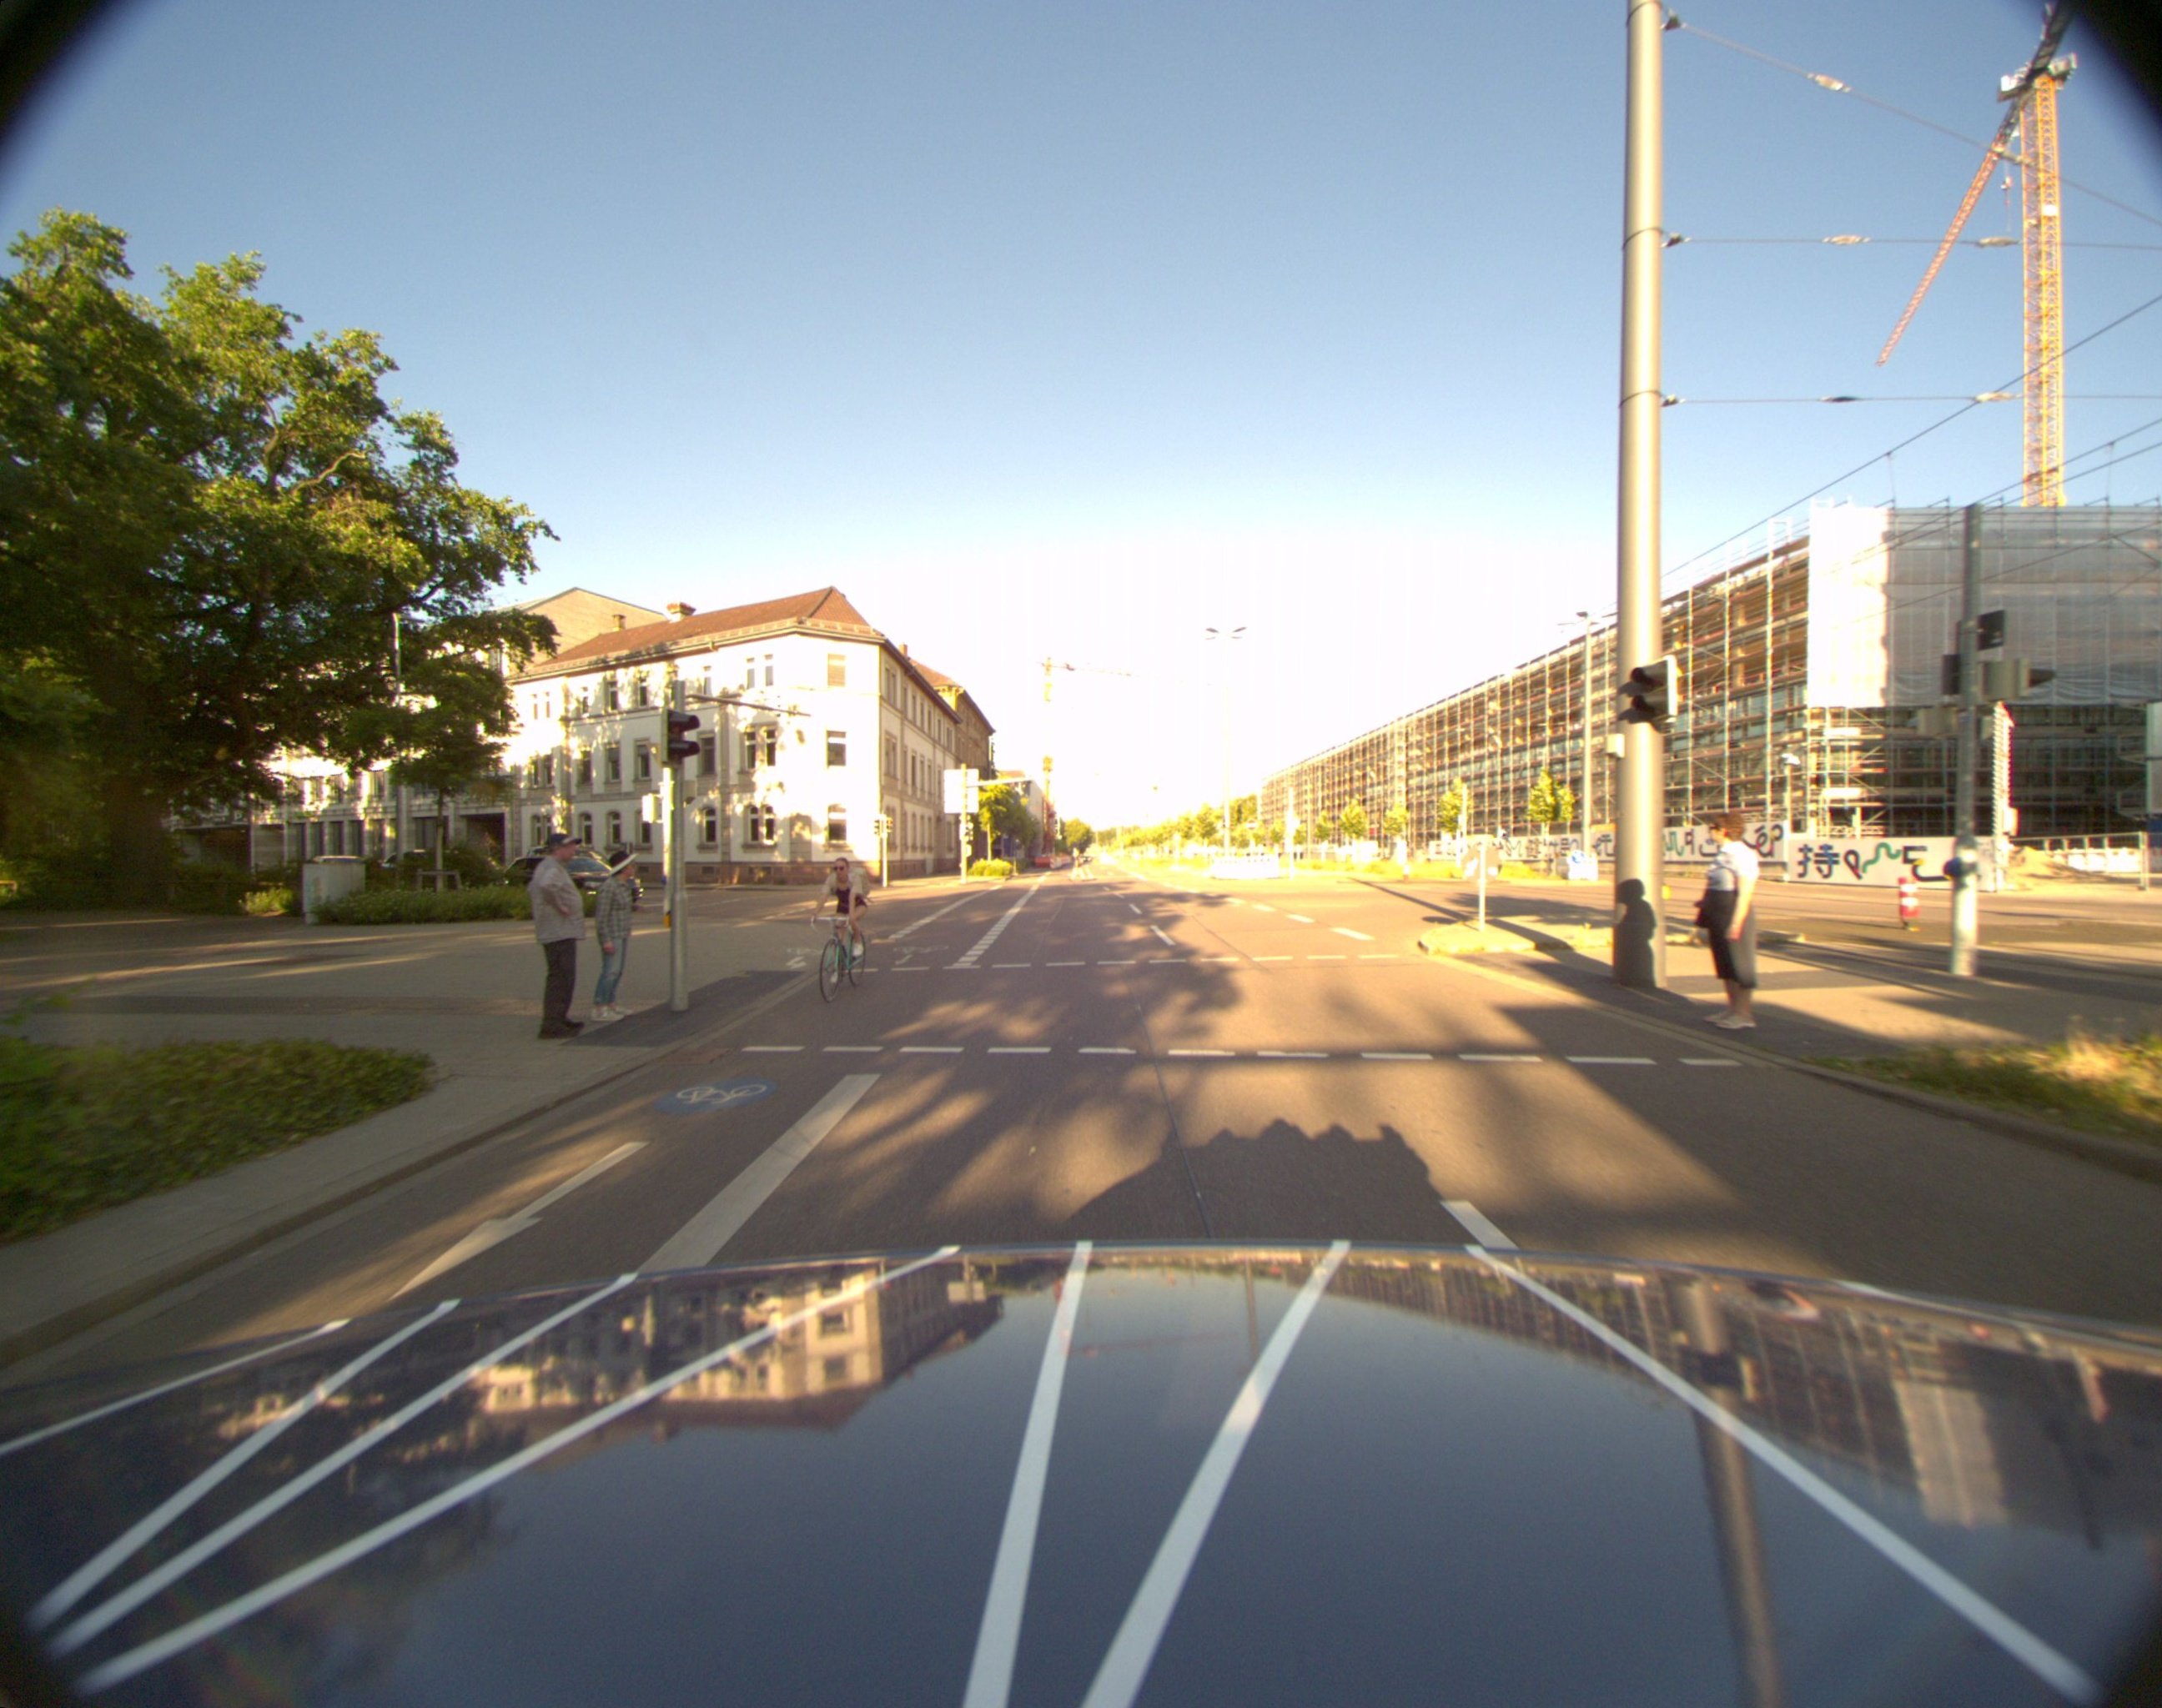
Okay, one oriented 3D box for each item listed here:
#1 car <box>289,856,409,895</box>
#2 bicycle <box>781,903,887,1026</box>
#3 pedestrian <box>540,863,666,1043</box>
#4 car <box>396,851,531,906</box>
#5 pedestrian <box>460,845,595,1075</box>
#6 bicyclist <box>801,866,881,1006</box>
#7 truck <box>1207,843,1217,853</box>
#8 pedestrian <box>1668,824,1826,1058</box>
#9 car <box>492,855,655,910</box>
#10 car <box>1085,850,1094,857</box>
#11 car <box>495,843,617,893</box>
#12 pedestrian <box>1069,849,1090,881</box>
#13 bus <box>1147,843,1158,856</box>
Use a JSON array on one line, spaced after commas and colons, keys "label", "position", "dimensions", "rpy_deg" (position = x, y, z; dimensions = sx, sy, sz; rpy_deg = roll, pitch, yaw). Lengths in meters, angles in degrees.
[{"label": "car", "position": [-28.388, 0.802, 29.460], "dimensions": [4.224, 1.374, 1.906], "rpy_deg": [0, 1, 25]}, {"label": "bicycle", "position": [-2.760, 1.187, 8.676], "dimensions": [0.522, 1.091, 1.842], "rpy_deg": [-4, 1, 0]}, {"label": "pedestrian", "position": [-4.601, 0.921, 7.372], "dimensions": [0.769, 1.627, 0.769], "rpy_deg": [1, 1, -9]}, {"label": "car", "position": [-20.592, 0.742, 25.297], "dimensions": [4.525, 1.643, 1.906], "rpy_deg": [0, 1, 29]}, {"label": "pedestrian", "position": [-4.725, 0.835, 6.545], "dimensions": [0.861, 1.792, 0.905], "rpy_deg": [1, 1, -34]}, {"label": "bicyclist", "position": [-2.715, 0.888, 8.696], "dimensions": [0.554, 1.482, 1.081], "rpy_deg": [0, 0, 0]}, {"label": "truck", "position": [34.054, -1.610, 197.810], "dimensions": [2.143, 2.559, 4.740], "rpy_deg": [0, 0, 2]}, {"label": "pedestrian", "position": [5.091, 0.625, 5.856], "dimensions": [0.599, 1.689, 0.714], "rpy_deg": [0, 1, 6]}, {"label": "car", "position": [-15.150, 0.786, 22.668], "dimensions": [4.590, 1.465, 1.906], "rpy_deg": [0, 1, 25]}, {"label": "car", "position": [2.005, -0.126, 188.802], "dimensions": [1.999, 1.696, 3.999], "rpy_deg": [-1, 1, -2]}, {"label": "car", "position": [-20.080, 0.523, 29.063], "dimensions": [4.236, 1.794, 1.953], "rpy_deg": [0, -1, 25]}, {"label": "pedestrian", "position": [-0.059, 0.576, 40.492], "dimensions": [0.925, 1.639, 0.766], "rpy_deg": [0, 1, 17]}, {"label": "bus", "position": [17.370, -1.043, 185.003], "dimensions": [2.723, 3.203, 8.659], "rpy_deg": [0, 0, 5]}]
